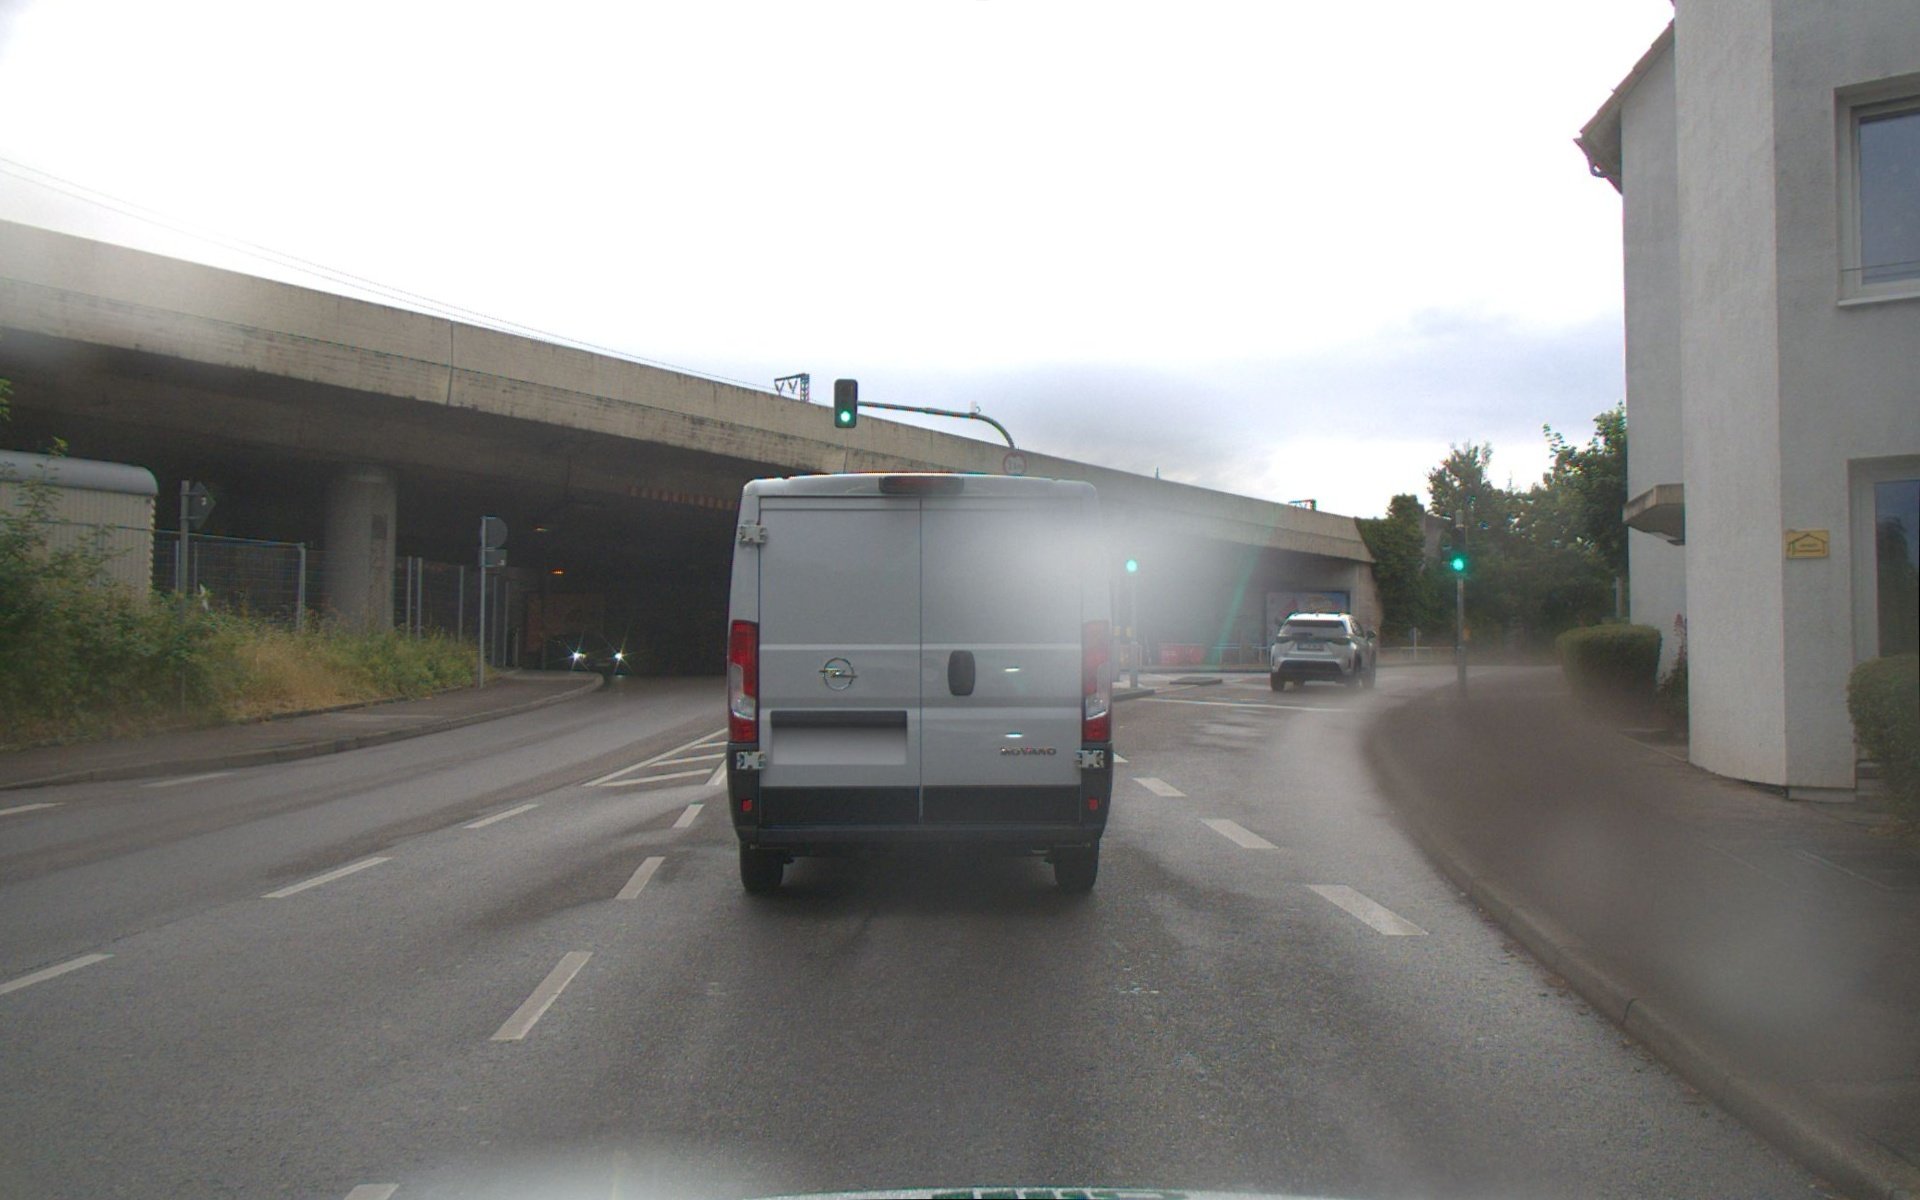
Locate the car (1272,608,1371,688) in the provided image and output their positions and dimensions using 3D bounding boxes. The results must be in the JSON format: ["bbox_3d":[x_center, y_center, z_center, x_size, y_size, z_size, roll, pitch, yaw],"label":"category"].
[{"bbox_3d":[7.545,0.960,34.275,1.835,1.557,4.003,0,-1,15],"label":"car"}]

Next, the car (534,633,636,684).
[{"bbox_3d":[-12.712,1.953,55.838,1.975,1.557,4.449,1,-1,-33],"label":"car"}]

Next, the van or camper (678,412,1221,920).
[{"bbox_3d":[-0.151,0.358,10.545,2.644,2.459,4.900,0,-1,-3],"label":"van or camper"}]
